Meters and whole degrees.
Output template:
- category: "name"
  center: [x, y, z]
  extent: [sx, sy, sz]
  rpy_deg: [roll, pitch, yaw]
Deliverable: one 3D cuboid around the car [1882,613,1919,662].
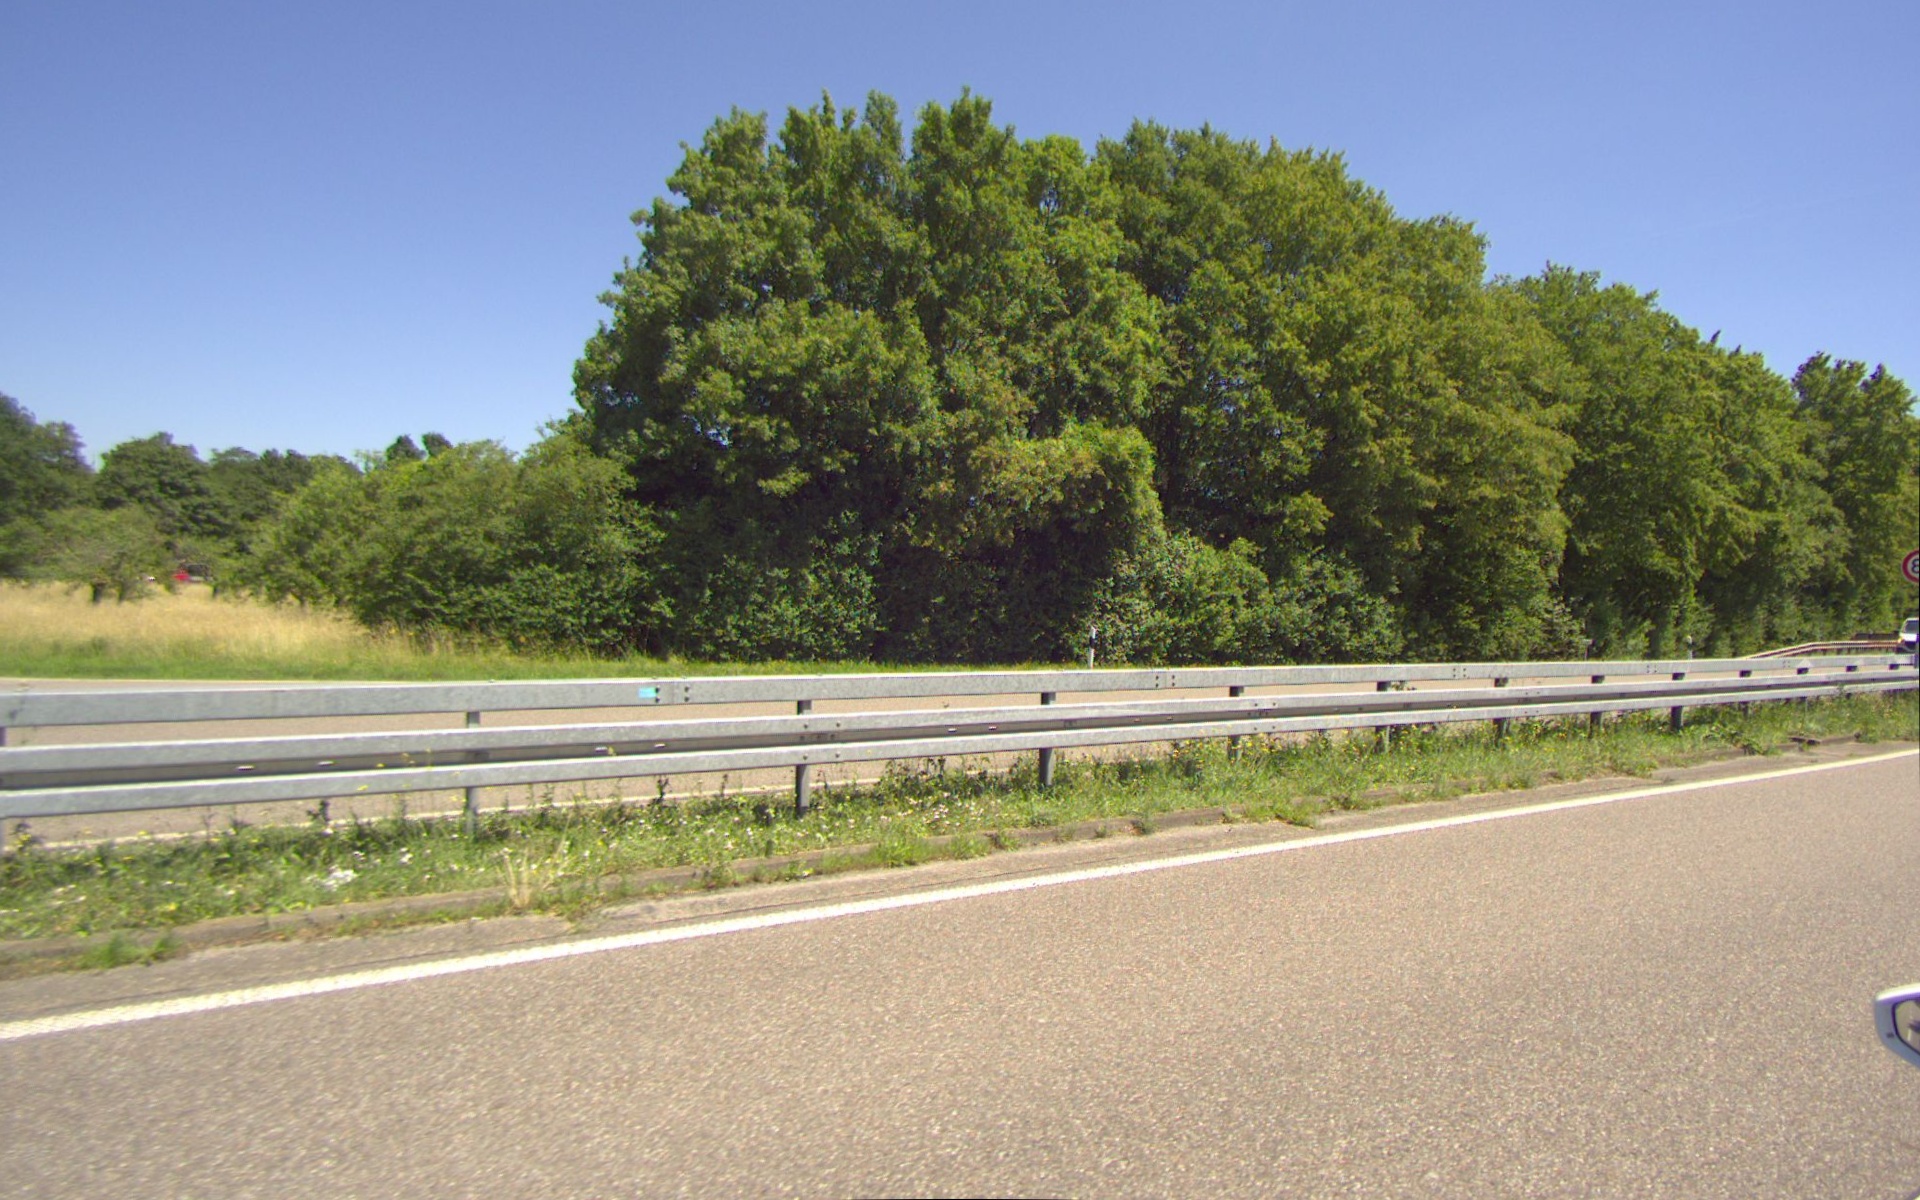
- category: "car"
  center: [40.967, 1.565, 42.200]
  extent: [5.579, 1.977, 1.978]
  rpy_deg: [1, 0, -33]
